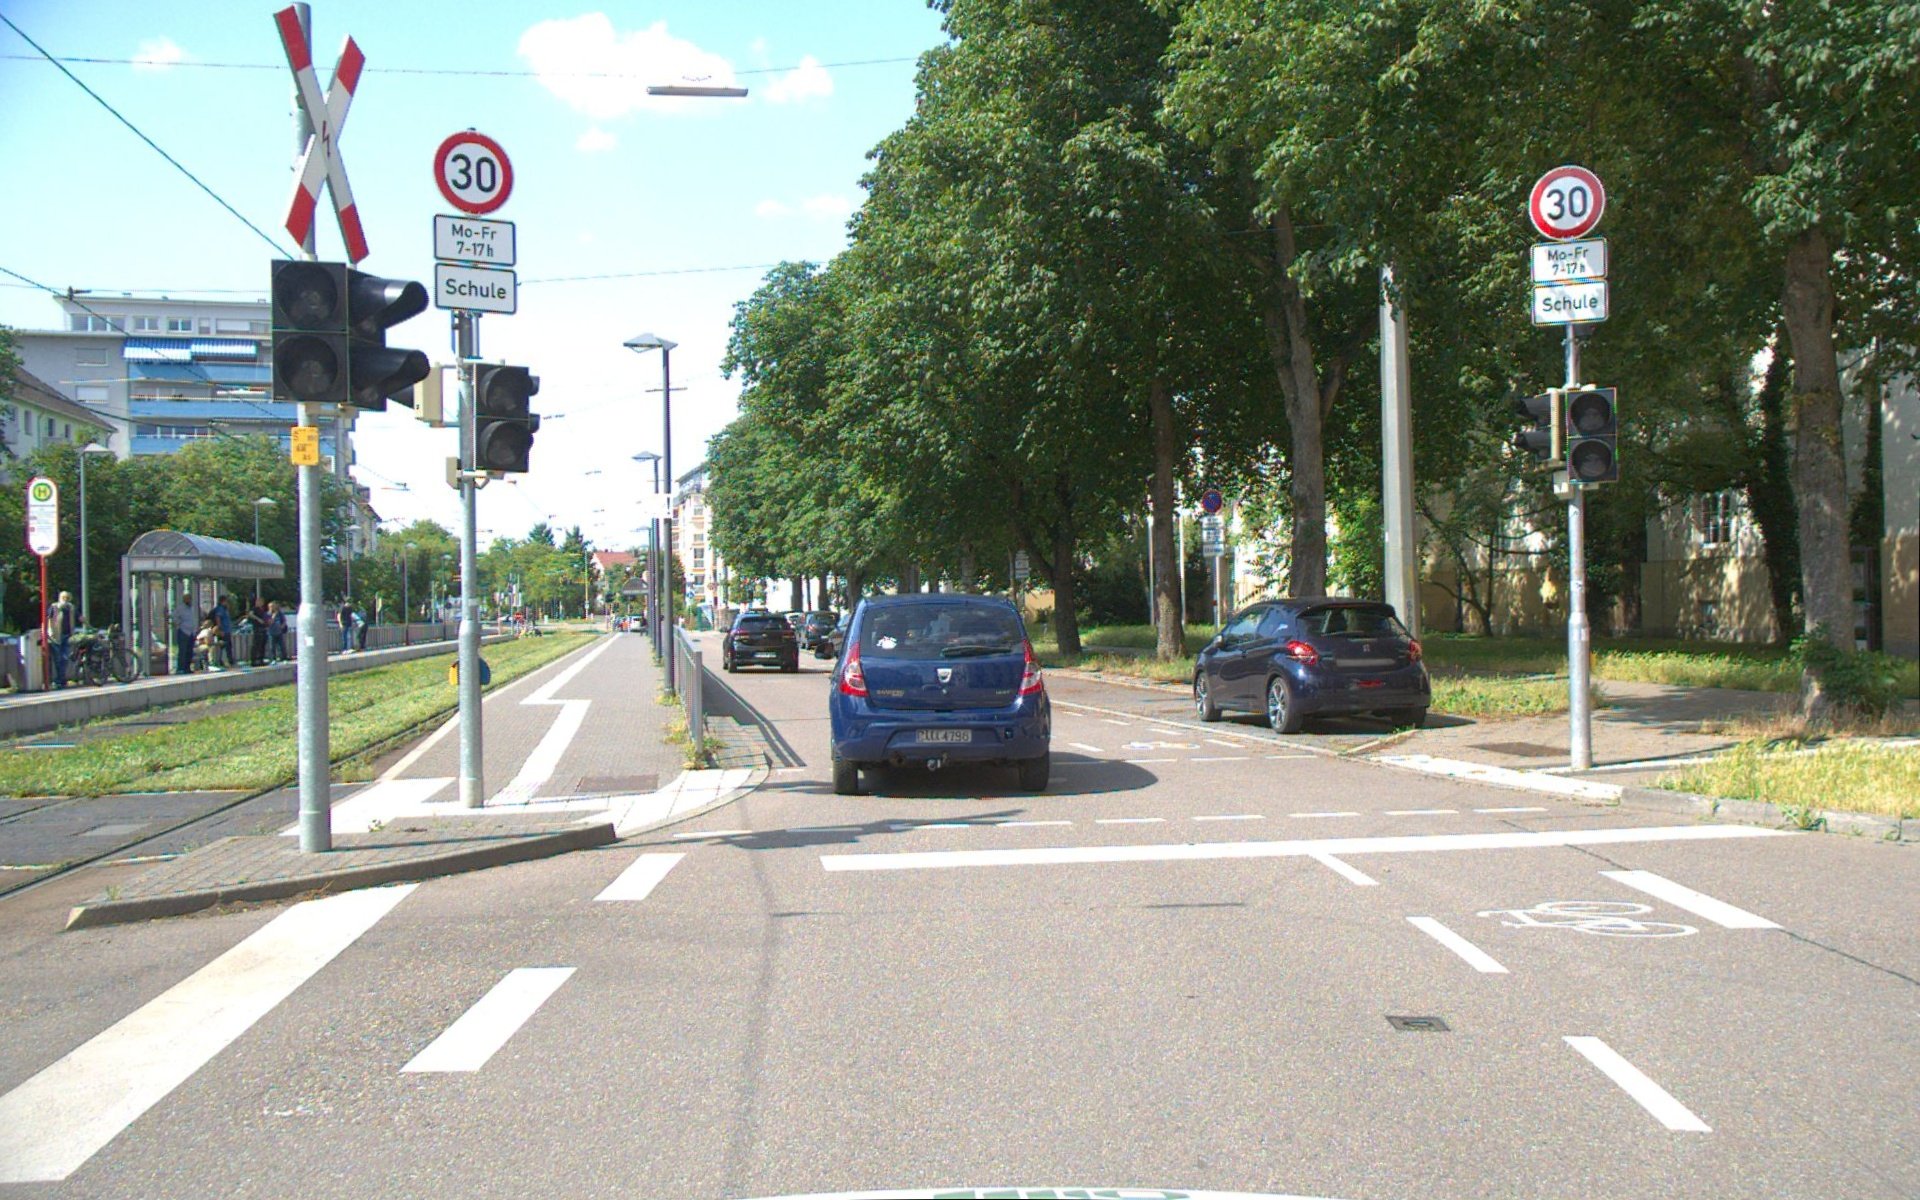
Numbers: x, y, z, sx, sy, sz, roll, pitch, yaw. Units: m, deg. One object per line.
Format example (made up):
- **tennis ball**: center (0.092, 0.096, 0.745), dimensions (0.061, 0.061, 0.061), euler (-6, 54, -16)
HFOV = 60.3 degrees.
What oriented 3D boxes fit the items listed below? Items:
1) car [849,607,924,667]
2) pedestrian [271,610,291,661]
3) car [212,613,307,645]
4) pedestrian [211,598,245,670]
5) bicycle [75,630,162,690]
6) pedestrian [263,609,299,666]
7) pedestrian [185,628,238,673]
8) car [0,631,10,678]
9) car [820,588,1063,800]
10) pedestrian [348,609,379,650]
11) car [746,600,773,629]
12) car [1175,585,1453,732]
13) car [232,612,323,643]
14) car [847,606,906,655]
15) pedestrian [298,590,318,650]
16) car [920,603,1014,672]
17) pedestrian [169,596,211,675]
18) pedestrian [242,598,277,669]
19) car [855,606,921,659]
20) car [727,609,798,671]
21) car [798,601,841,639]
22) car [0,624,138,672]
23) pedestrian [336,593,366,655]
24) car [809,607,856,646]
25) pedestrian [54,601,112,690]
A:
- **car**: center (-2.064, 0.991, 45.582), dimensions (1.825, 1.470, 3.996), euler (-3, 0, -5)
- **pedestrian**: center (-20.048, 1.044, 48.849), dimensions (0.481, 1.477, 0.461), euler (-2, 0, -20)
- **car**: center (-33.544, 1.396, 79.281), dimensions (1.605, 1.410, 3.987), euler (-1, 0, 34)
- **pedestrian**: center (-18.234, 0.839, 41.215), dimensions (0.582, 1.766, 0.556), euler (-2, 0, -6)
- **bicycle**: center (-15.605, 1.097, 30.714), dimensions (0.672, 0.991, 1.771), euler (-4, 0, -1)
- **pedestrian**: center (-17.668, 0.980, 43.037), dimensions (0.641, 1.451, 0.562), euler (-2, 0, 27)
- **pedestrian**: center (-17.460, 1.178, 38.615), dimensions (0.907, 1.006, 0.795), euler (-3, -2, -8)
- **car**: center (-29.131, 1.614, 47.162), dimensions (1.426, 1.332, 3.237), euler (-1, 0, 34)
- **car**: center (-0.264, 0.676, 13.808), dimensions (1.733, 1.487, 3.772), euler (-1, 0, -4)
- **pedestrian**: center (-22.410, 1.108, 62.132), dimensions (1.016, 1.463, 0.698), euler (-3, 0, -25)
- **car**: center (-12.956, 0.914, 106.842), dimensions (1.635, 1.803, 3.994), euler (-1, 0, -6)
- **car**: center (3.973, 0.618, 19.245), dimensions (1.734, 1.458, 3.893), euler (-2, 0, -11)
- **car**: center (-34.813, 1.402, 84.379), dimensions (1.699, 1.472, 3.971), euler (-2, 0, 45)
- **car**: center (-2.869, 0.994, 55.887), dimensions (1.815, 1.542, 3.996), euler (-1, 0, -5)
- **pedestrian**: center (-19.238, 0.577, 48.825), dimensions (0.481, 1.742, 0.461), euler (-2, 0, -20)
- **car**: center (0.121, 0.856, 39.663), dimensions (1.825, 1.470, 3.996), euler (-3, 0, -5)
- **pedestrian**: center (-17.340, 0.793, 37.253), dimensions (0.643, 1.722, 0.655), euler (-2, 0, -10)
- **pedestrian**: center (-17.937, 0.845, 42.364), dimensions (0.592, 1.797, 0.639), euler (-1, 0, -1)
- **car**: center (-2.275, 0.969, 51.276), dimensions (1.825, 1.470, 3.996), euler (-3, 0, -5)
- **car**: center (-4.892, 0.954, 41.104), dimensions (1.667, 1.392, 3.510), euler (0, 1, -6)
- **car**: center (-6.274, 0.869, 73.649), dimensions (1.792, 1.564, 3.996), euler (-2, 0, -5)
- **car**: center (-29.494, 1.563, 54.481), dimensions (1.683, 1.391, 3.982), euler (-2, 0, 38)
- **pedestrian**: center (-20.477, 0.800, 55.591), dimensions (0.786, 2.049, 0.661), euler (-1, 0, -8)
- **car**: center (-5.275, 1.070, 68.186), dimensions (1.825, 1.470, 3.996), euler (-3, 0, -5)
- **pedestrian**: center (-16.295, 0.832, 30.748), dimensions (0.650, 1.597, 0.685), euler (-3, 0, -3)
